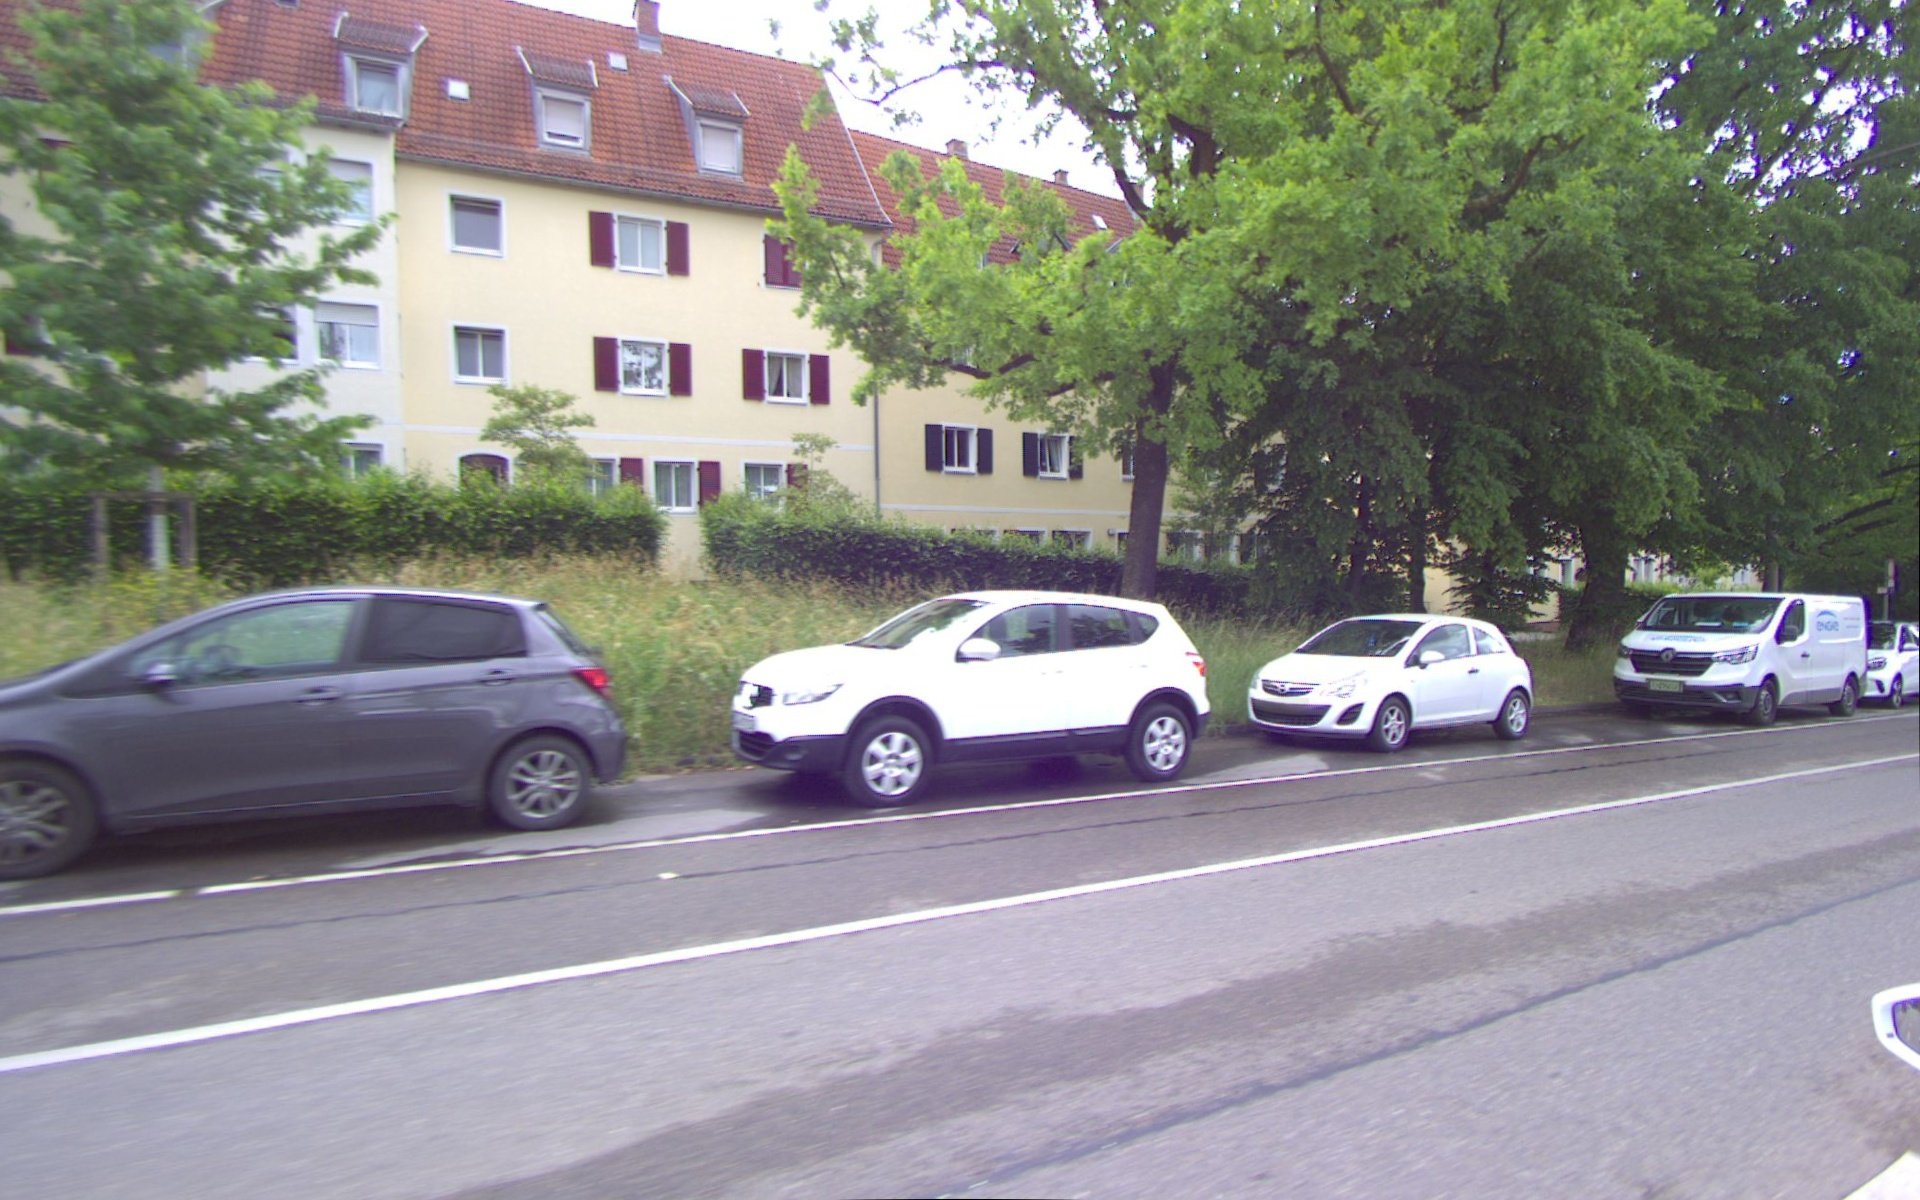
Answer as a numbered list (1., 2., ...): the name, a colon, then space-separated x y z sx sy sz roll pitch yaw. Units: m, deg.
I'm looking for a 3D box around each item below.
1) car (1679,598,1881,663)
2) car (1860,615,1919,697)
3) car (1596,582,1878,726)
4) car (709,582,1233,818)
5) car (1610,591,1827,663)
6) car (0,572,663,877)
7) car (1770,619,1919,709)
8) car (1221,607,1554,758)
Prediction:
1. car: 25.324 0.897 31.219 1.863 1.474 4.412 1 4 -28
2. car: 21.227 1.182 21.518 4.110 1.655 1.757 1 0 -31
3. car: 12.451 0.785 15.997 5.068 1.990 1.856 1 0 -31
4. car: 0.192 0.709 8.568 4.232 1.585 1.664 1 0 -31
5. car: 21.073 0.686 28.079 1.850 1.470 4.402 1 5 -34
6. car: -4.075 0.647 6.282 3.995 1.507 1.666 1 -1 -29
7. car: 17.100 1.156 19.102 3.680 1.501 1.572 1 0 -33
8. car: 5.158 0.884 11.974 4.045 1.498 1.653 1 0 -32
